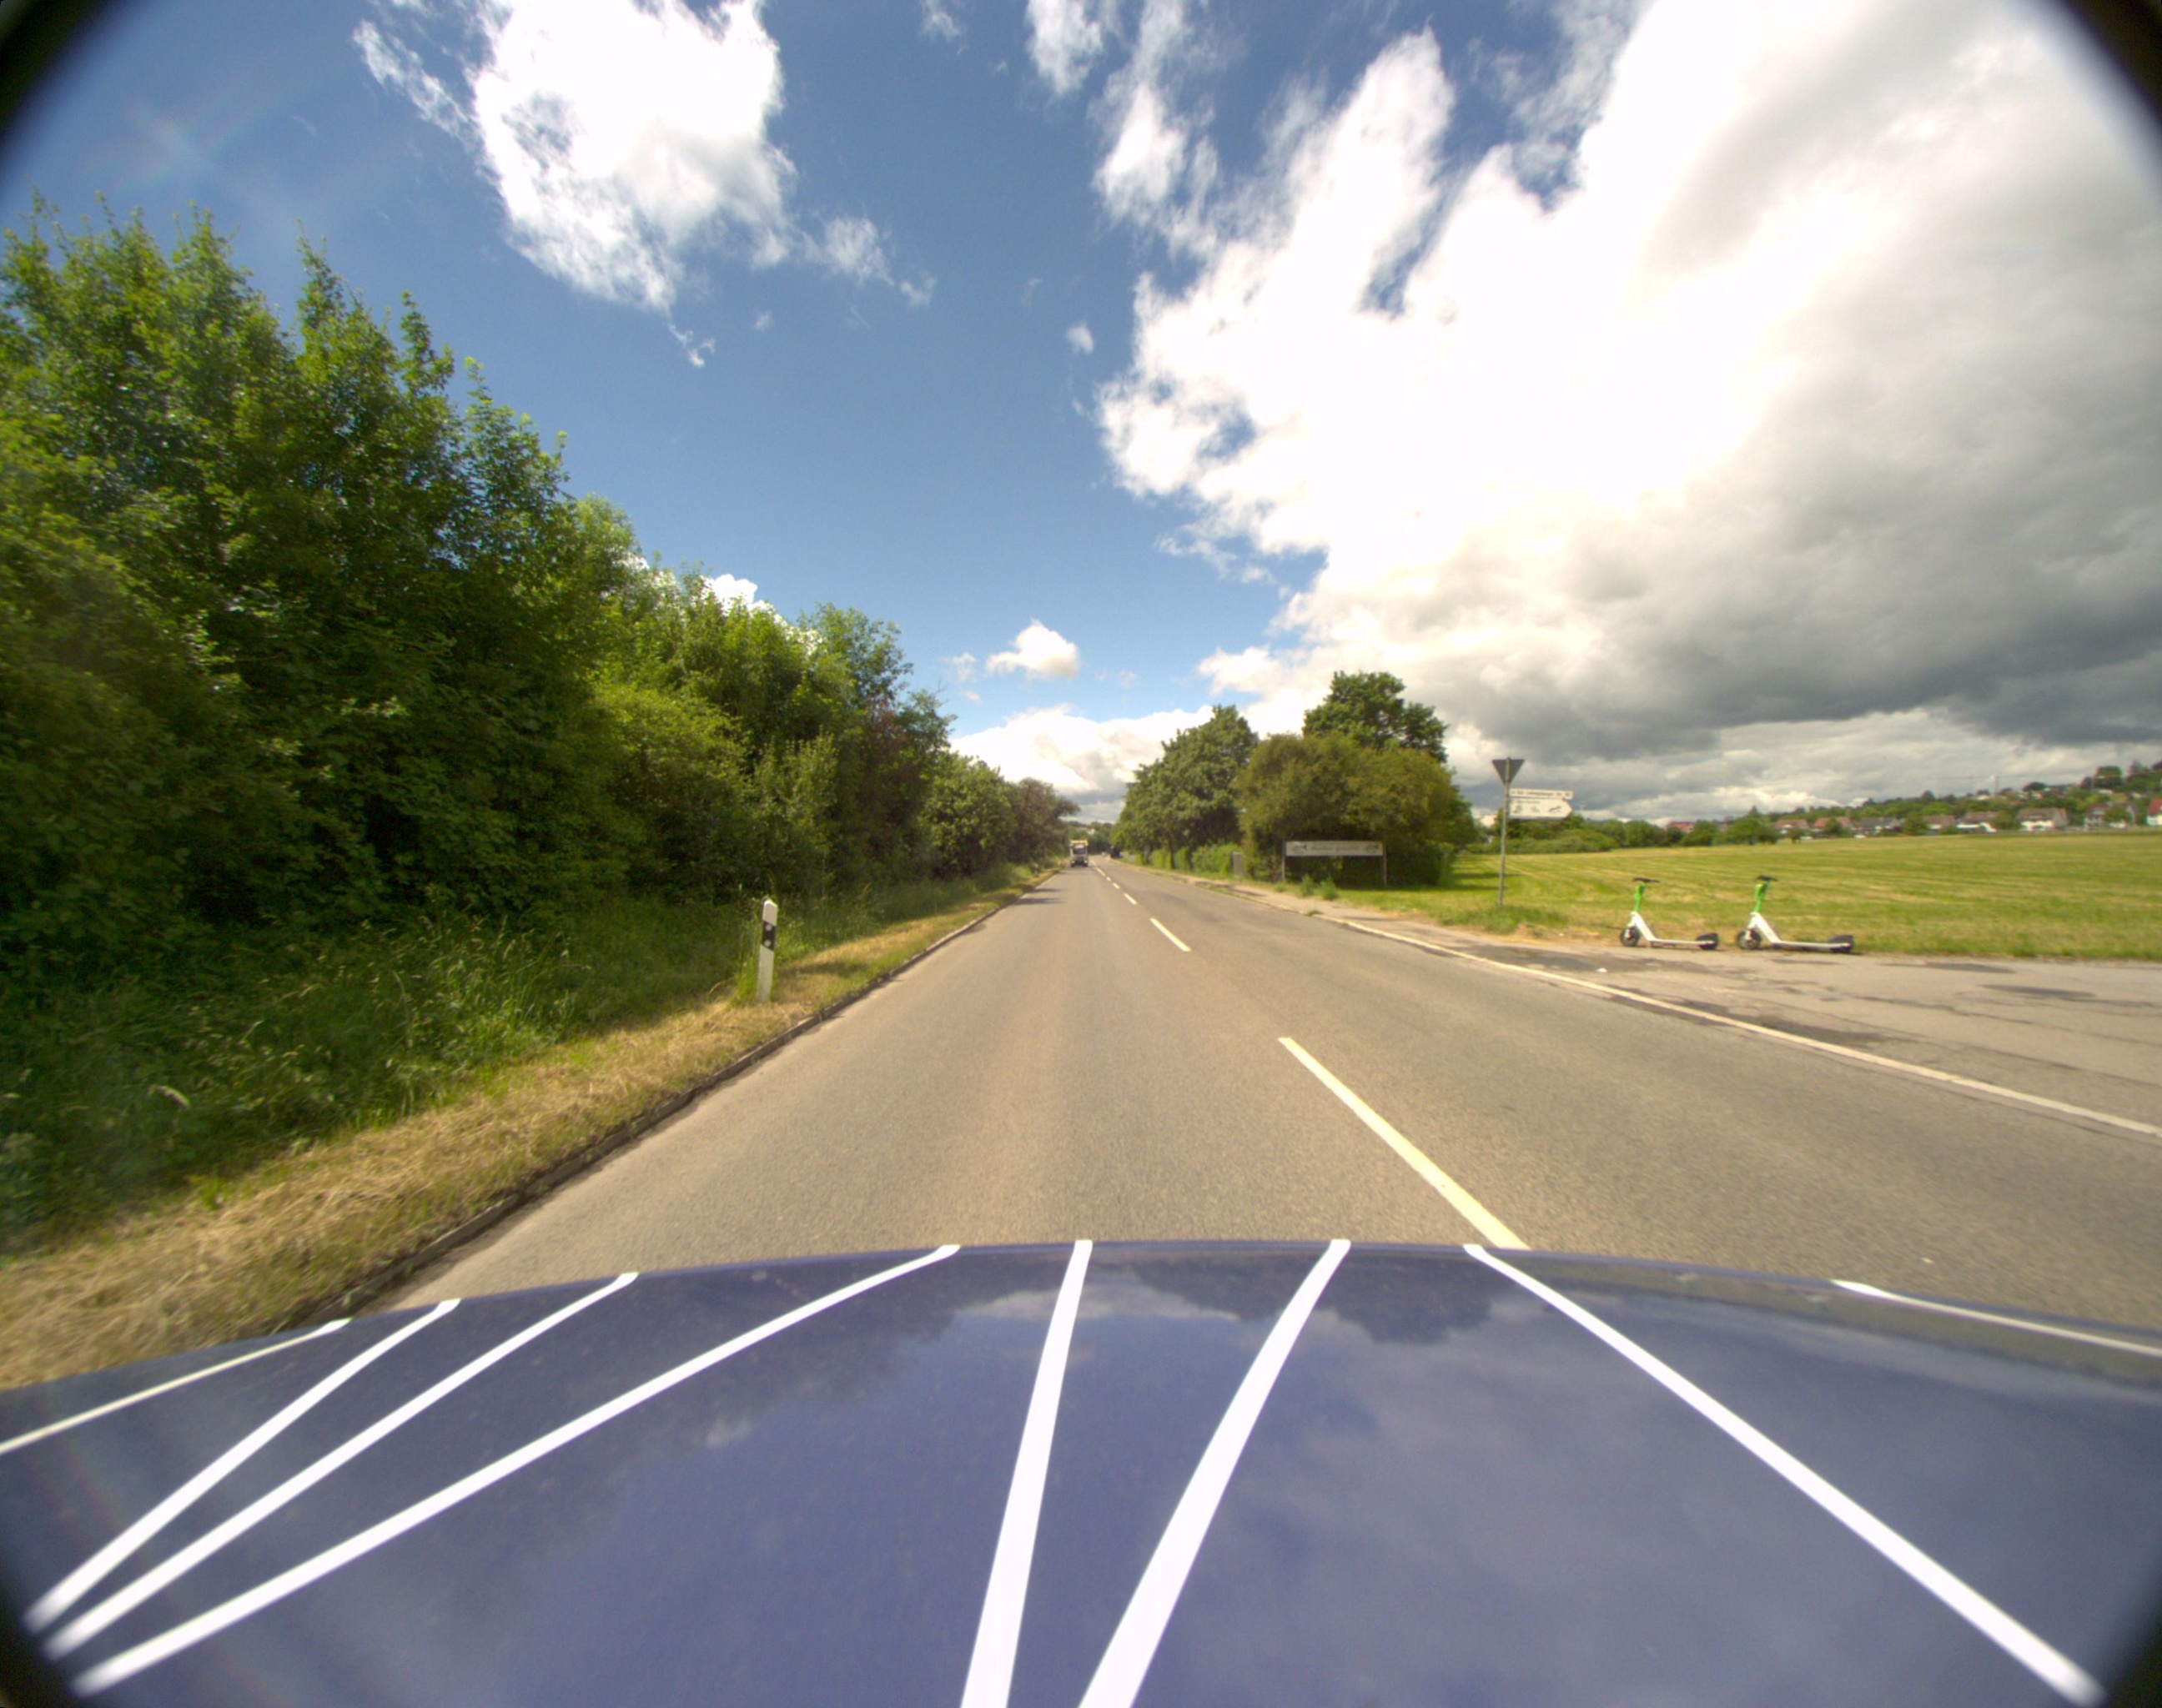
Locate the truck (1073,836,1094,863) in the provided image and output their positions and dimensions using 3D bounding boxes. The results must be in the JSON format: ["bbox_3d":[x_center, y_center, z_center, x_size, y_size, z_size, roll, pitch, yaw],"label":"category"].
[{"bbox_3d":[0.317,-0.655,111.562,2.905,3.746,9.633,0,0,0],"label":"truck"}]

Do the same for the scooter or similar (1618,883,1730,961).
[{"bbox_3d":[9.433,1.051,12.126,0.408,1.162,1.347,-2,0,-43],"label":"scooter or similar"}]

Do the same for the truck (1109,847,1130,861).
[{"bbox_3d":[10.501,-0.054,206.873,5.570,3.801,2.983,0,1,-4],"label":"truck"}]

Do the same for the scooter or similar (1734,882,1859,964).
[{"bbox_3d":[10.738,1.007,11.455,1.347,1.162,0.408,-1,0,41],"label":"scooter or similar"}]
